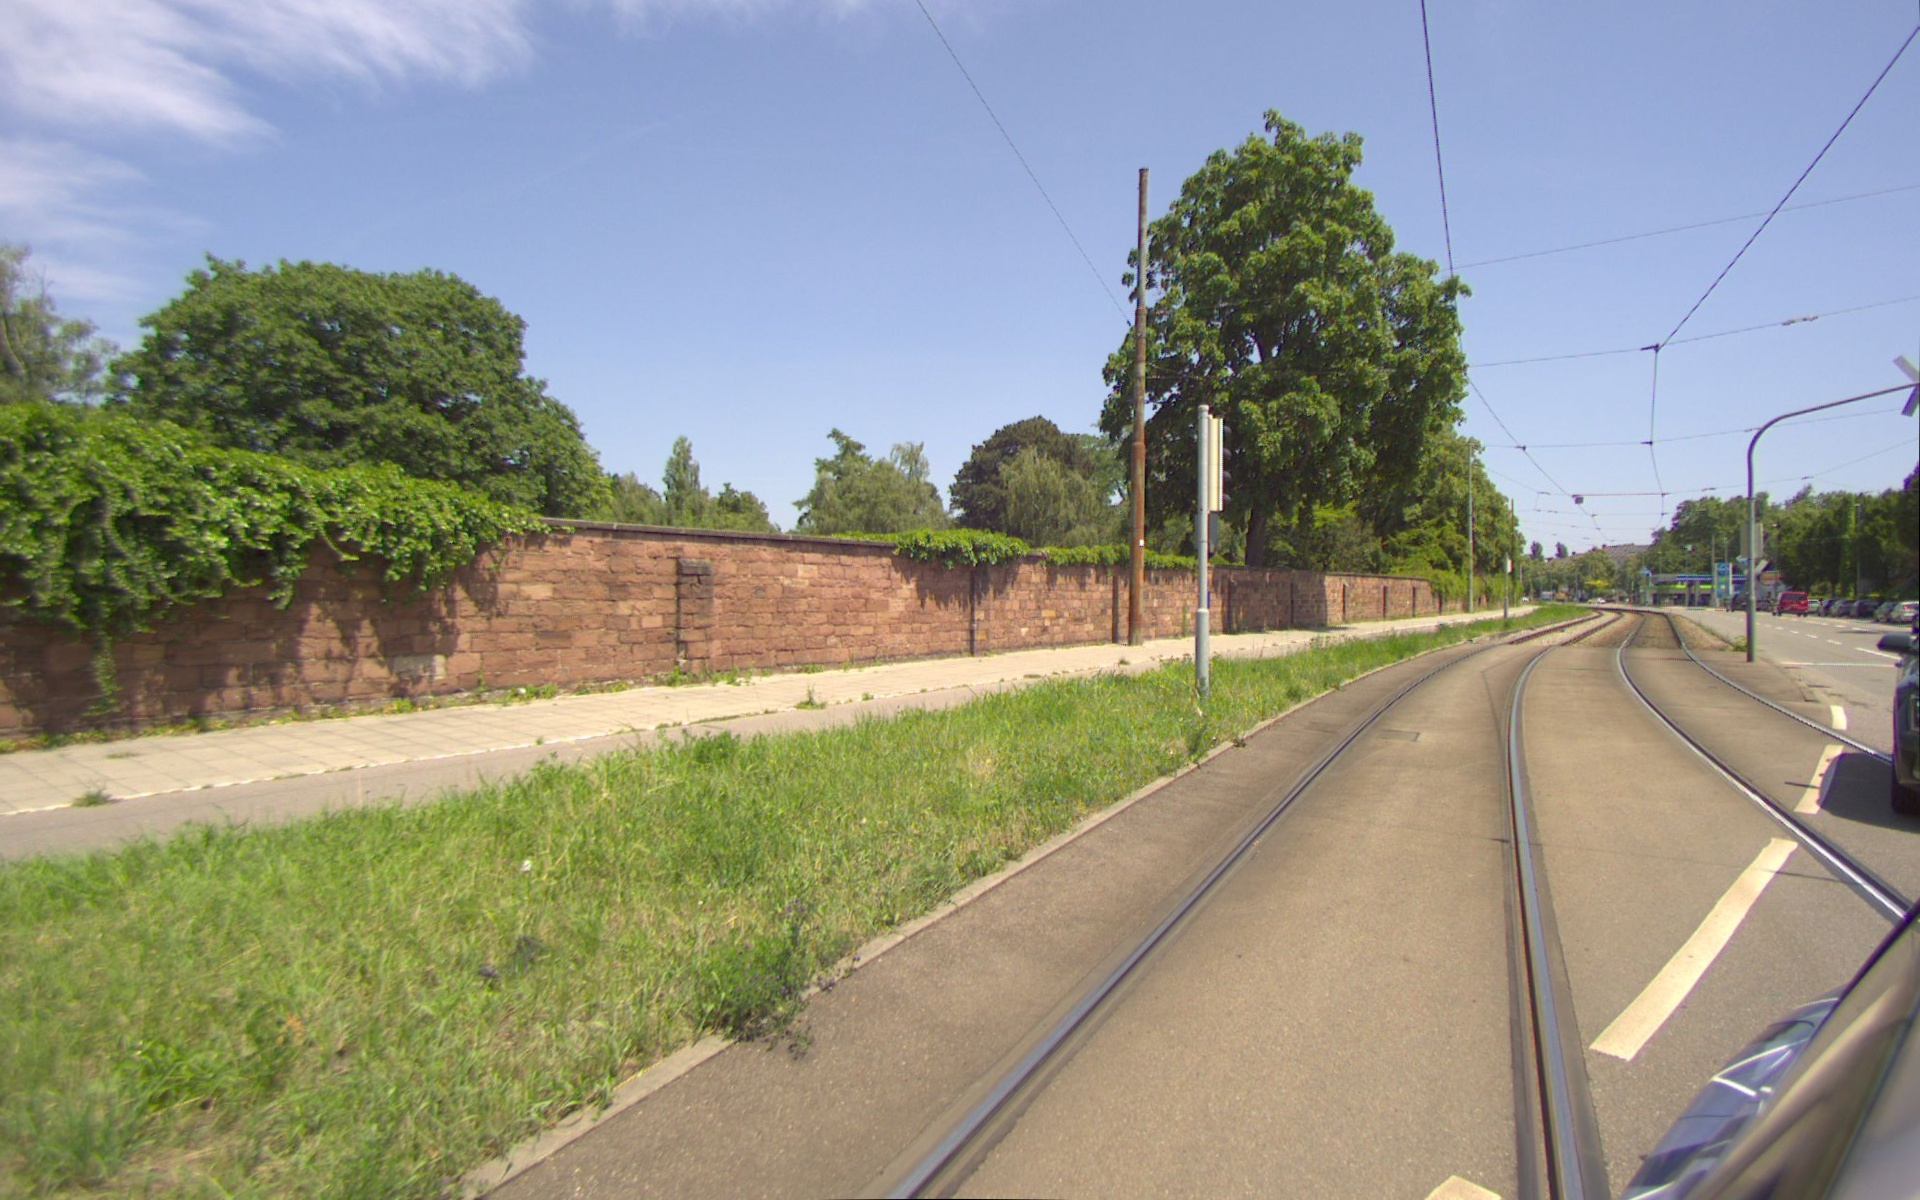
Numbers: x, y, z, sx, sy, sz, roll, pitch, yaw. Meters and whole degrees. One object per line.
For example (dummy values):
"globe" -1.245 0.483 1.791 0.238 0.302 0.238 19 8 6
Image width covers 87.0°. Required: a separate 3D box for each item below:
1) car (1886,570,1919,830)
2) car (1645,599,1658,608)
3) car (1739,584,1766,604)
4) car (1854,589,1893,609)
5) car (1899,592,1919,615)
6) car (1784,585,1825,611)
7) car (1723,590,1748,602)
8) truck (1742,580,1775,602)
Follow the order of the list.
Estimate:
"car" 8.052 0.605 7.058 4.348 1.603 1.758 0 0 -39
"car" 129.463 0.658 189.387 1.852 1.515 3.429 -4 -2 33
"car" 81.039 -0.639 103.516 1.912 1.934 4.514 1 1 35
"car" 74.368 -0.048 82.422 1.645 1.515 4.033 -4 -2 33
"car" 65.157 0.206 68.531 1.646 1.514 3.606 1 1 33
"car" 67.739 -0.155 81.230 1.892 1.950 4.762 3 2 33
"car" 103.060 -0.541 134.488 1.847 1.515 3.439 -3 -2 26
"truck" 97.914 -1.151 124.089 2.114 2.612 4.821 1 1 26
